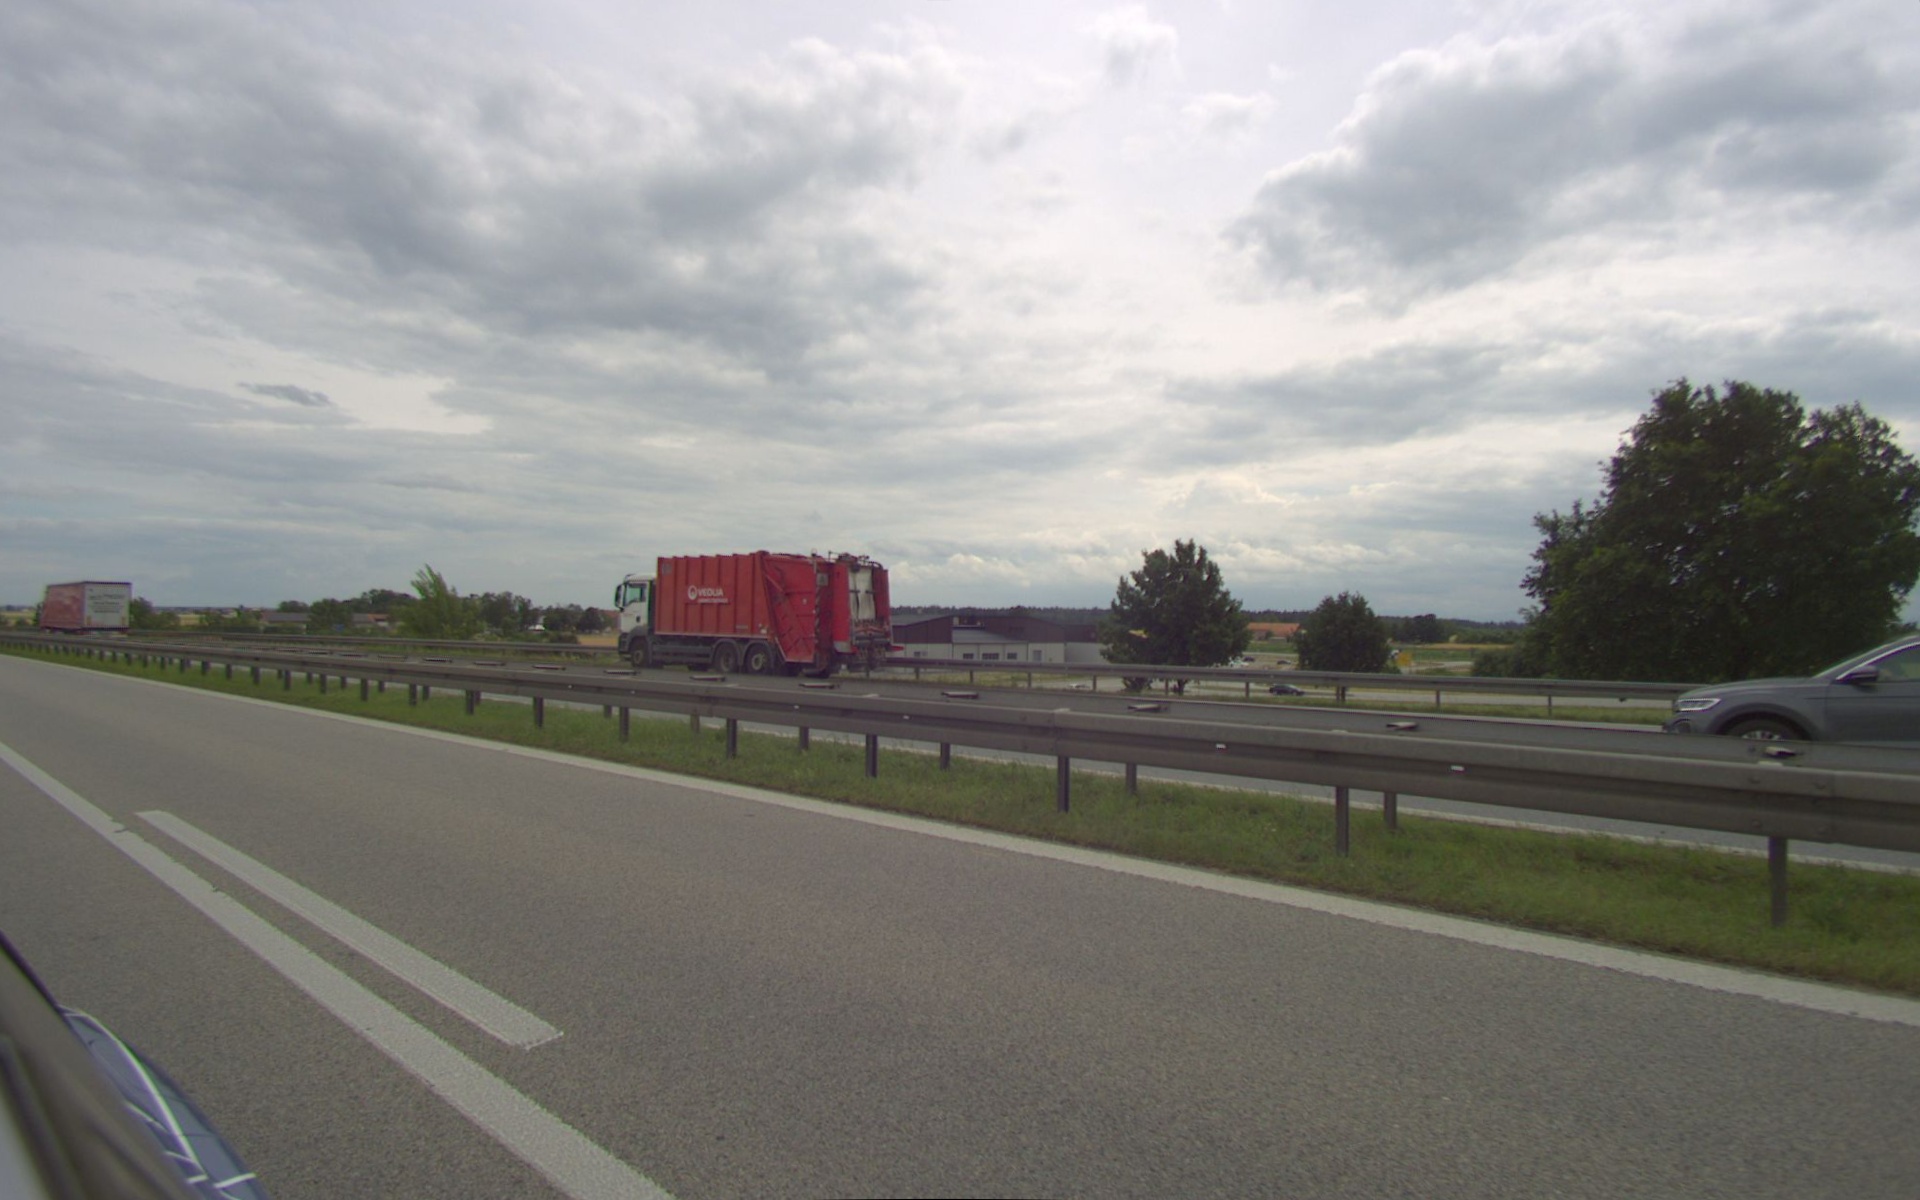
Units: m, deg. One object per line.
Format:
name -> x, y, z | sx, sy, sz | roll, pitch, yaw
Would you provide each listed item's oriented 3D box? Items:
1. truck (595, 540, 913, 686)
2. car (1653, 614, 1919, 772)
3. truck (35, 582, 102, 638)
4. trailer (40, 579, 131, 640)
truck -> -6.330, 0.439, 29.181 | 11.070, 3.563, 2.641 | -1, -4, 40
car -> 9.238, 0.823, 9.096 | 4.781, 1.356, 1.806 | -1, -3, 42
truck -> -66.333, 0.758, 75.281 | 6.320, 3.977, 2.880 | -1, 0, 40
trailer -> -61.845, 0.705, 71.408 | 13.968, 3.971, 2.879 | -1, 0, 41
